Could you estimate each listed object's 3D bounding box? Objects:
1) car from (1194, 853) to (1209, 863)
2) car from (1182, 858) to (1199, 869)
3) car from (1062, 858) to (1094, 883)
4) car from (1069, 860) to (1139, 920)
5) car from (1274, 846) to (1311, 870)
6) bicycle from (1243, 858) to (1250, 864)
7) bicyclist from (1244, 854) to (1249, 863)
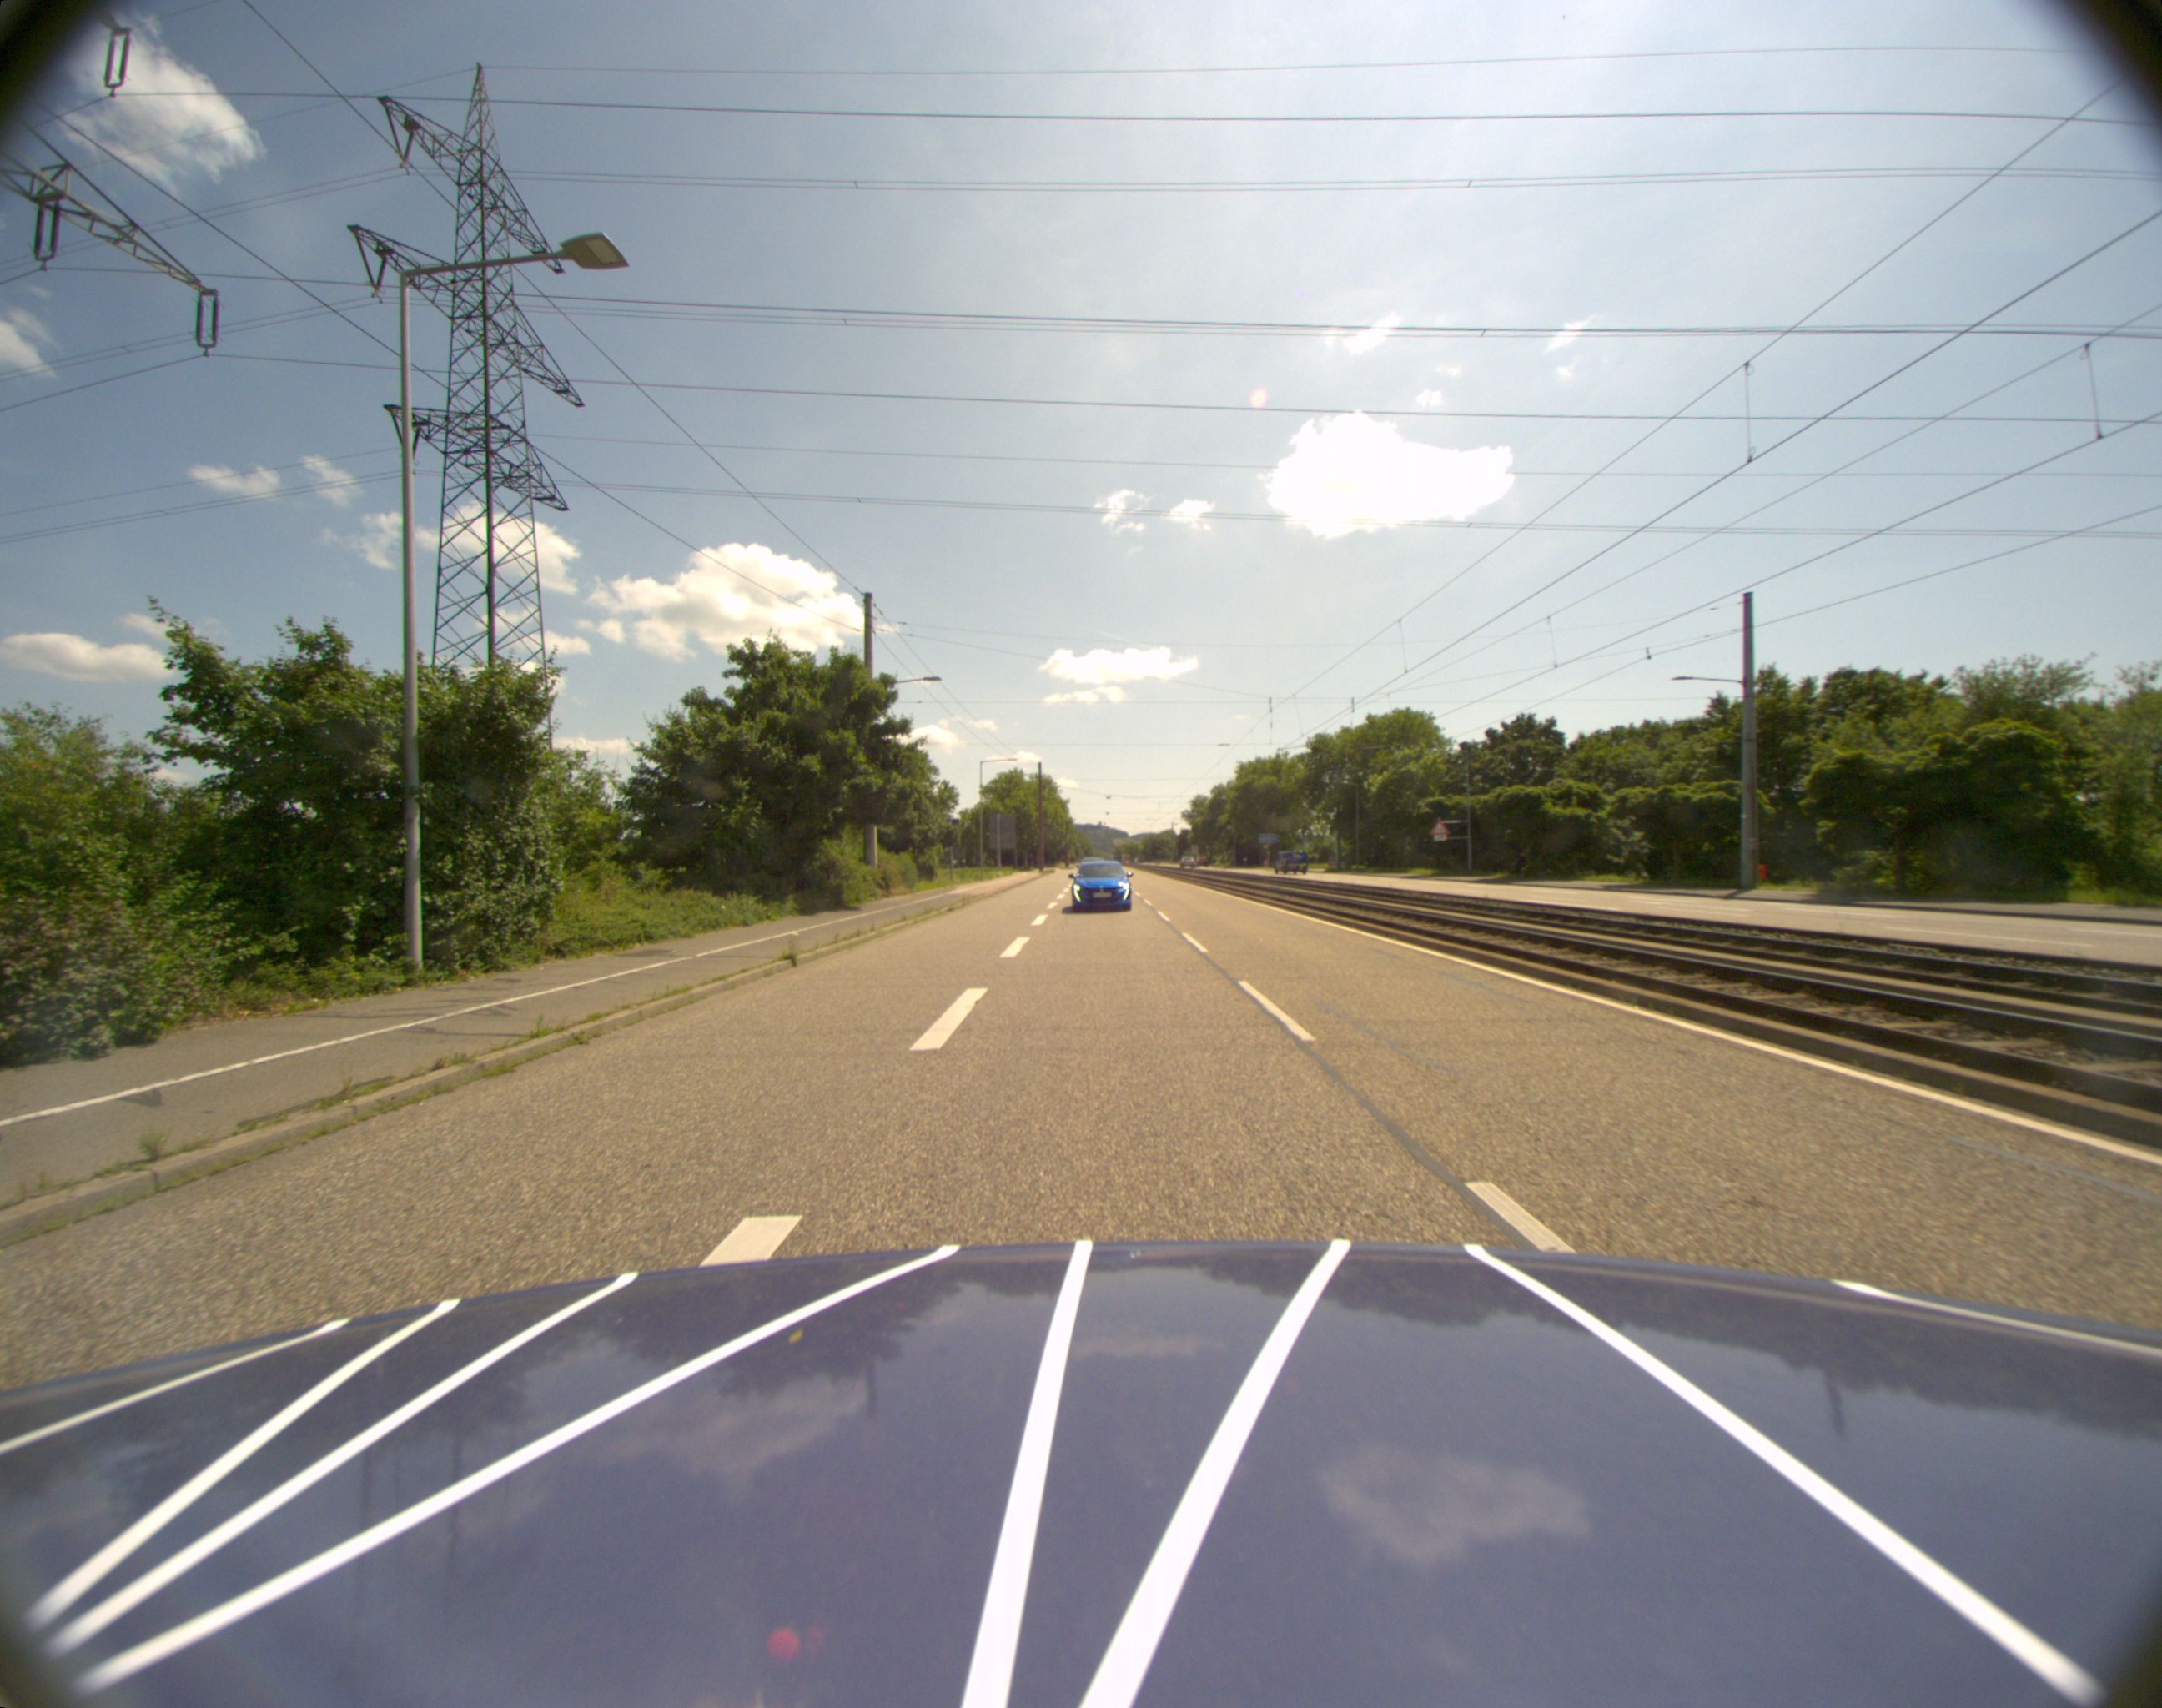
[{"bbox_3d":[19.508,0.604,123.280,1.806,1.616,4.211,0,0,1],"label":"car"},{"bbox_3d":[15.908,1.347,110.651,1.806,1.616,4.494,0,0,1],"label":"car"},{"bbox_3d":[-0.165,0.964,45.954,1.771,1.422,4.000,-2,0,1],"label":"car"},{"bbox_3d":[0.645,0.939,21.800,1.771,1.463,4.467,-2,0,1],"label":"car"},{"bbox_3d":[18.233,0.337,65.642,1.861,1.916,5.008,1,0,1],"label":"car"},{"bbox_3d":[26.903,1.187,123.340,0.623,0.934,2.091,-1,0,1],"label":"bicycle"},{"bbox_3d":[26.876,0.764,123.396,0.623,1.509,1.160,-1,0,1],"label":"bicyclist"}]
